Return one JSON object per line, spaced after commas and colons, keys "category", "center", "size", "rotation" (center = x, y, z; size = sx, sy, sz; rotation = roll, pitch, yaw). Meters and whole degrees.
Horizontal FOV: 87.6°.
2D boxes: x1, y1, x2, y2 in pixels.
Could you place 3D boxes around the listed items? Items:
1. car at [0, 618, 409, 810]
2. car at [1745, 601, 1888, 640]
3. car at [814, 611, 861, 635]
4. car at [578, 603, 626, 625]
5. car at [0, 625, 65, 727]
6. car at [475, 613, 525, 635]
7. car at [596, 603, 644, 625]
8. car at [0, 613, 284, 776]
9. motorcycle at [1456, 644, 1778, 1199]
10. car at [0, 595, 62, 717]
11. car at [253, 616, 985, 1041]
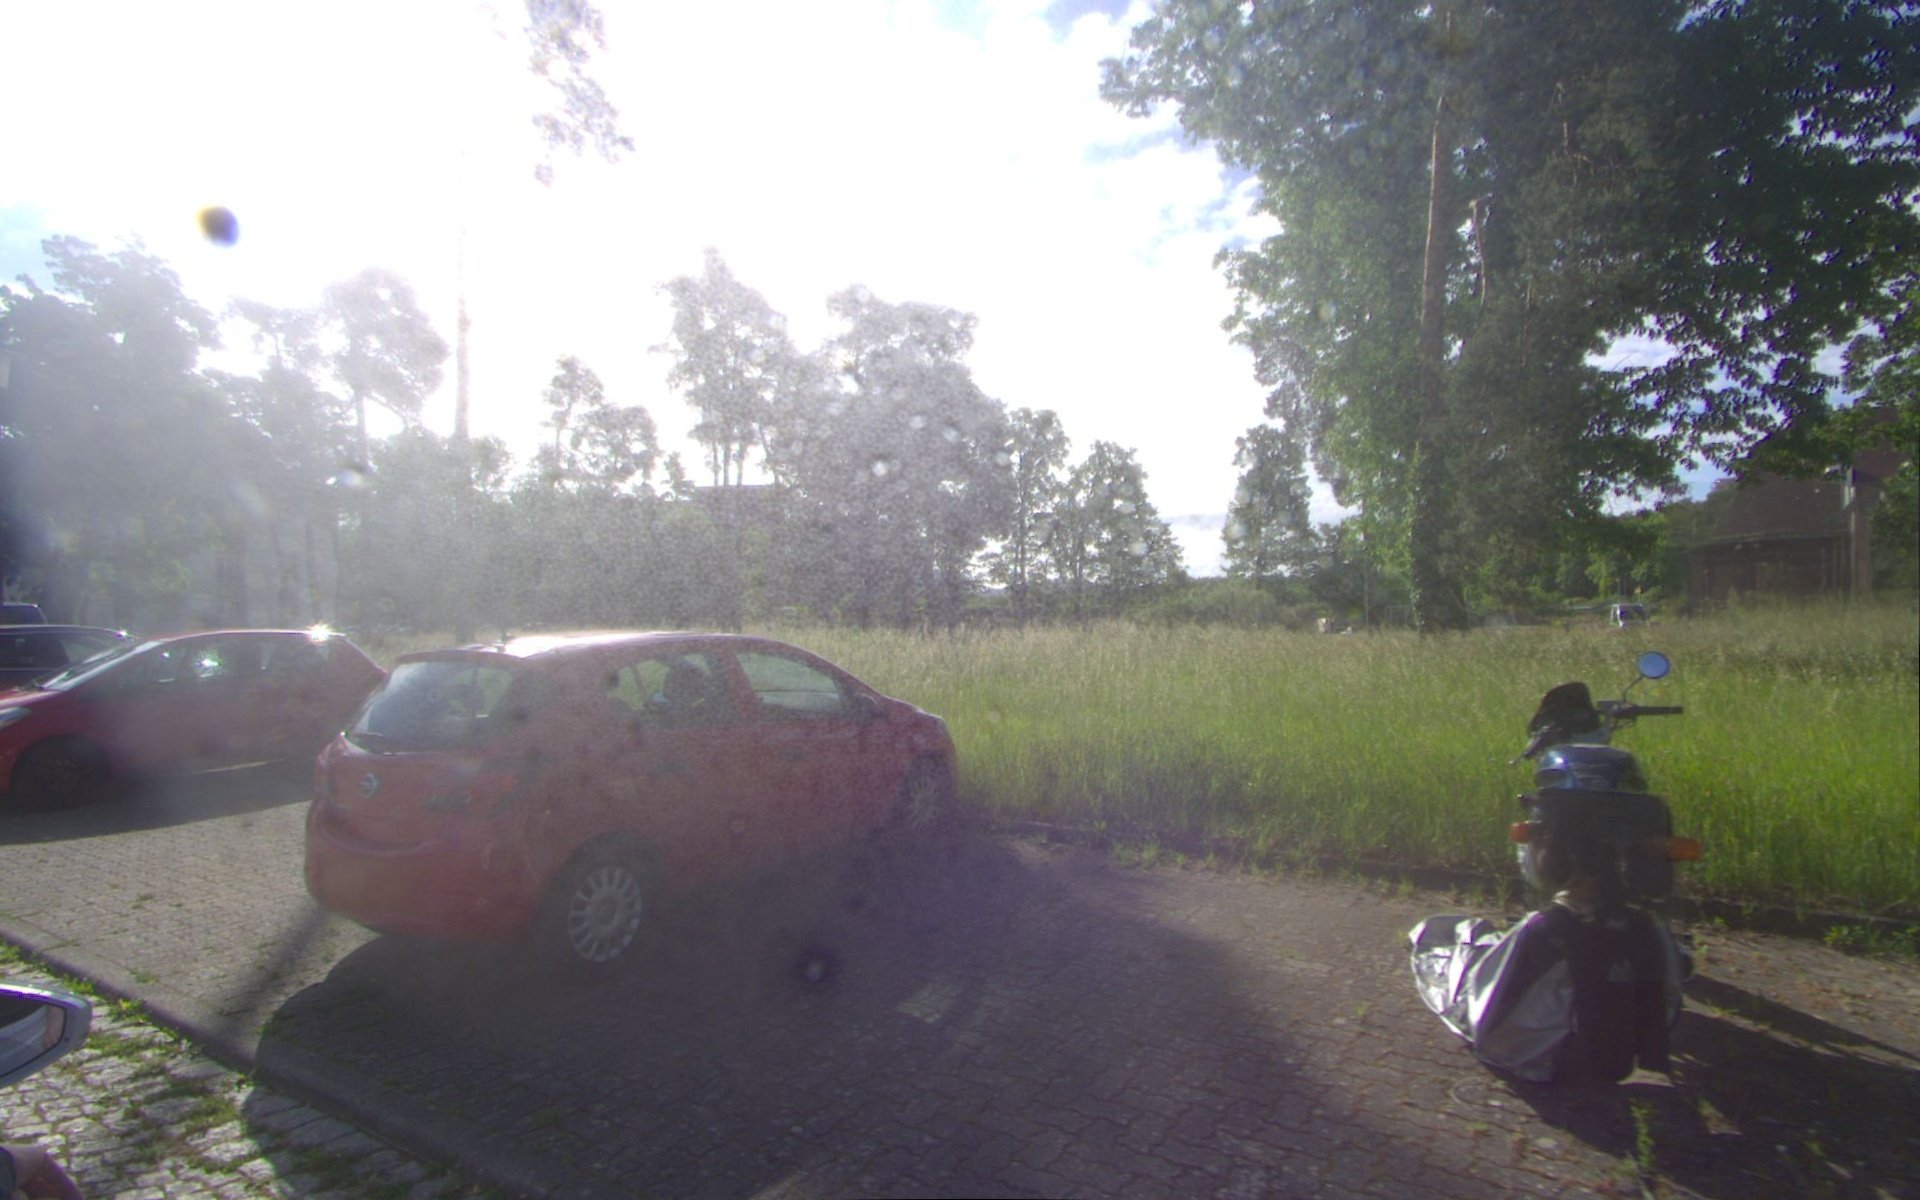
{"category": "car", "center": [-7.763, 0.966, 9.900], "size": [1.622, 1.550, 3.756], "rotation": [-1, -1, 32]}
{"category": "car", "center": [50.235, 1.246, 58.887], "size": [2.346, 2.199, 5.976], "rotation": [0, -2, -35]}
{"category": "car", "center": [-10.496, 1.972, 86.098], "size": [1.971, 2.040, 3.979], "rotation": [-1, -1, 32]}
{"category": "car", "center": [-33.845, 1.321, 94.736], "size": [1.971, 2.040, 3.979], "rotation": [-1, -1, 32]}
{"category": "car", "center": [-15.540, 1.155, 14.351], "size": [1.621, 1.508, 3.714], "rotation": [-1, 0, 30]}
{"category": "car", "center": [-44.182, 2.307, 96.308], "size": [1.971, 2.040, 3.979], "rotation": [-1, -1, 32]}
{"category": "car", "center": [-31.739, 1.307, 93.544], "size": [1.971, 2.040, 3.979], "rotation": [-1, -1, 32]}
{"category": "car", "center": [-10.096, 0.970, 11.127], "size": [1.746, 1.643, 3.930], "rotation": [-1, -1, 31]}
{"category": "motorcycle", "center": [2.321, 0.882, 3.650], "size": [0.716, 1.338, 2.295], "rotation": [0, 0, 32]}
{"category": "car", "center": [-17.680, 0.931, 15.911], "size": [2.052, 2.040, 4.672], "rotation": [0, -1, 29]}
{"category": "car", "center": [-1.516, 0.878, 5.742], "size": [1.622, 1.498, 3.819], "rotation": [-1, 0, 32]}
